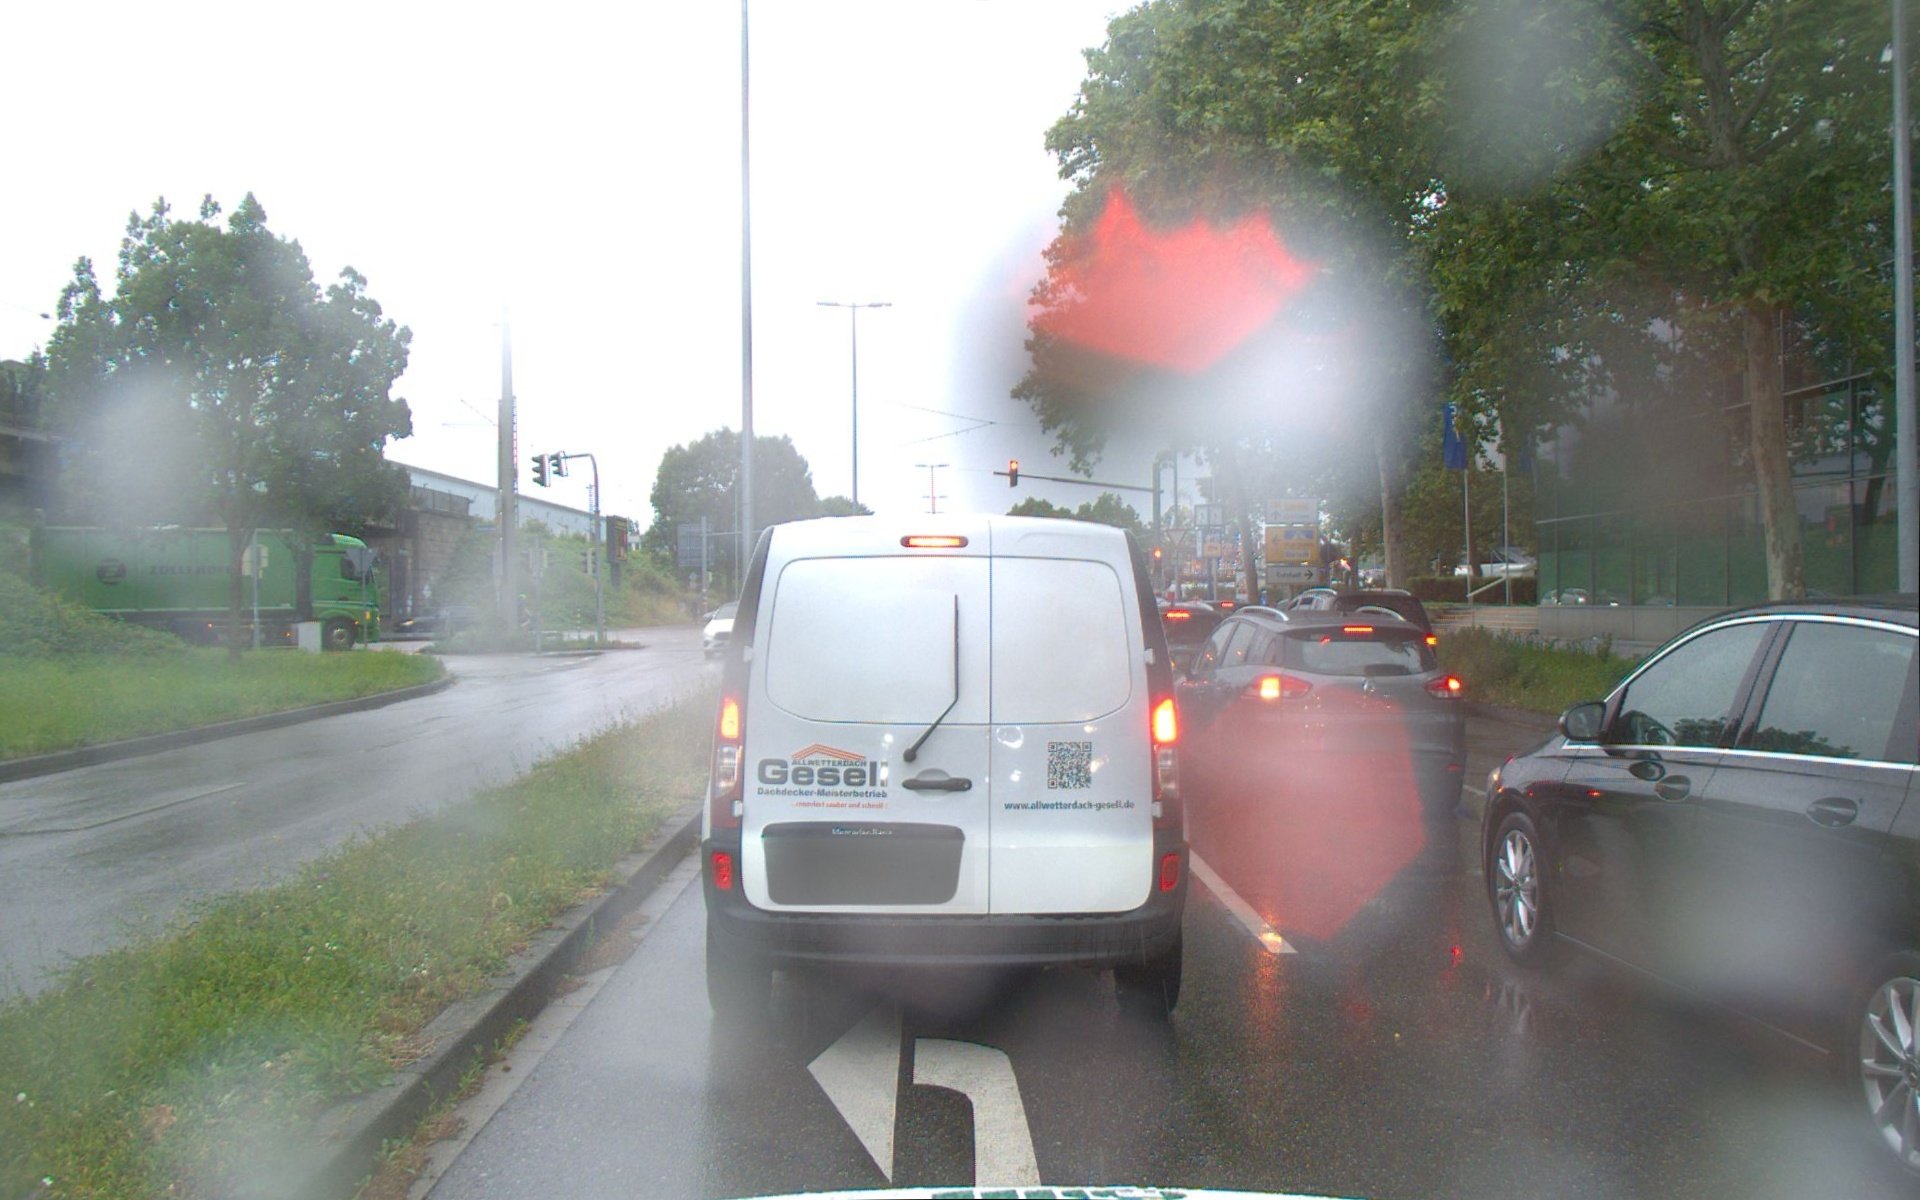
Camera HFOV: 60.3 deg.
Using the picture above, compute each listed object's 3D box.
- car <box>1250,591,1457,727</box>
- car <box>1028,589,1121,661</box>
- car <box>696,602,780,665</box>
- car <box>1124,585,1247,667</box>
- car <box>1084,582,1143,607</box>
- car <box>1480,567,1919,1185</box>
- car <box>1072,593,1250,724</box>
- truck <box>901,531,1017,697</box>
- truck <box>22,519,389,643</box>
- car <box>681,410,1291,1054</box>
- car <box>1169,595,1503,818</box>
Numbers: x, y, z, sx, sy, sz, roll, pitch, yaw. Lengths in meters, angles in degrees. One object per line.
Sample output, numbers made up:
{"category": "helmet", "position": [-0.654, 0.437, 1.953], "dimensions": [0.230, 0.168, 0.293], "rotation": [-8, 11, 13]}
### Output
{"category": "car", "position": [5.507, 0.784, 23.661], "dimensions": [1.819, 1.756, 4.188], "rotation": [0, 0, -2]}
{"category": "car", "position": [2.420, 0.507, 35.860], "dimensions": [1.677, 1.470, 3.999], "rotation": [0, 0, -1]}
{"category": "car", "position": [-6.055, 0.883, 45.531], "dimensions": [1.789, 1.596, 3.999], "rotation": [-2, 0, -1]}
{"category": "car", "position": [4.543, 0.512, 33.878], "dimensions": [1.802, 1.563, 4.110], "rotation": [1, 0, -2]}
{"category": "car", "position": [10.968, -0.385, 117.916], "dimensions": [3.904, 1.743, 1.773], "rotation": [0, -2, 19]}
{"category": "car", "position": [3.236, 0.688, 5.397], "dimensions": [1.674, 1.577, 3.998], "rotation": [0, 1, -3]}
{"category": "car", "position": [2.398, 0.648, 20.637], "dimensions": [1.677, 1.470, 3.999], "rotation": [0, 0, -1]}
{"category": "truck", "position": [-0.081, 0.224, 27.024], "dimensions": [1.721, 2.509, 3.998], "rotation": [0, 0, -3]}
{"category": "truck", "position": [-23.209, -0.443, 51.384], "dimensions": [10.037, 3.512, 2.622], "rotation": [2, -2, -38]}
{"category": "car", "position": [0.011, 0.434, 7.311], "dimensions": [1.953, 2.049, 3.998], "rotation": [0, 0, -3]}
{"category": "car", "position": [2.779, 0.709, 13.100], "dimensions": [1.677, 1.470, 3.999], "rotation": [0, 0, -1]}
